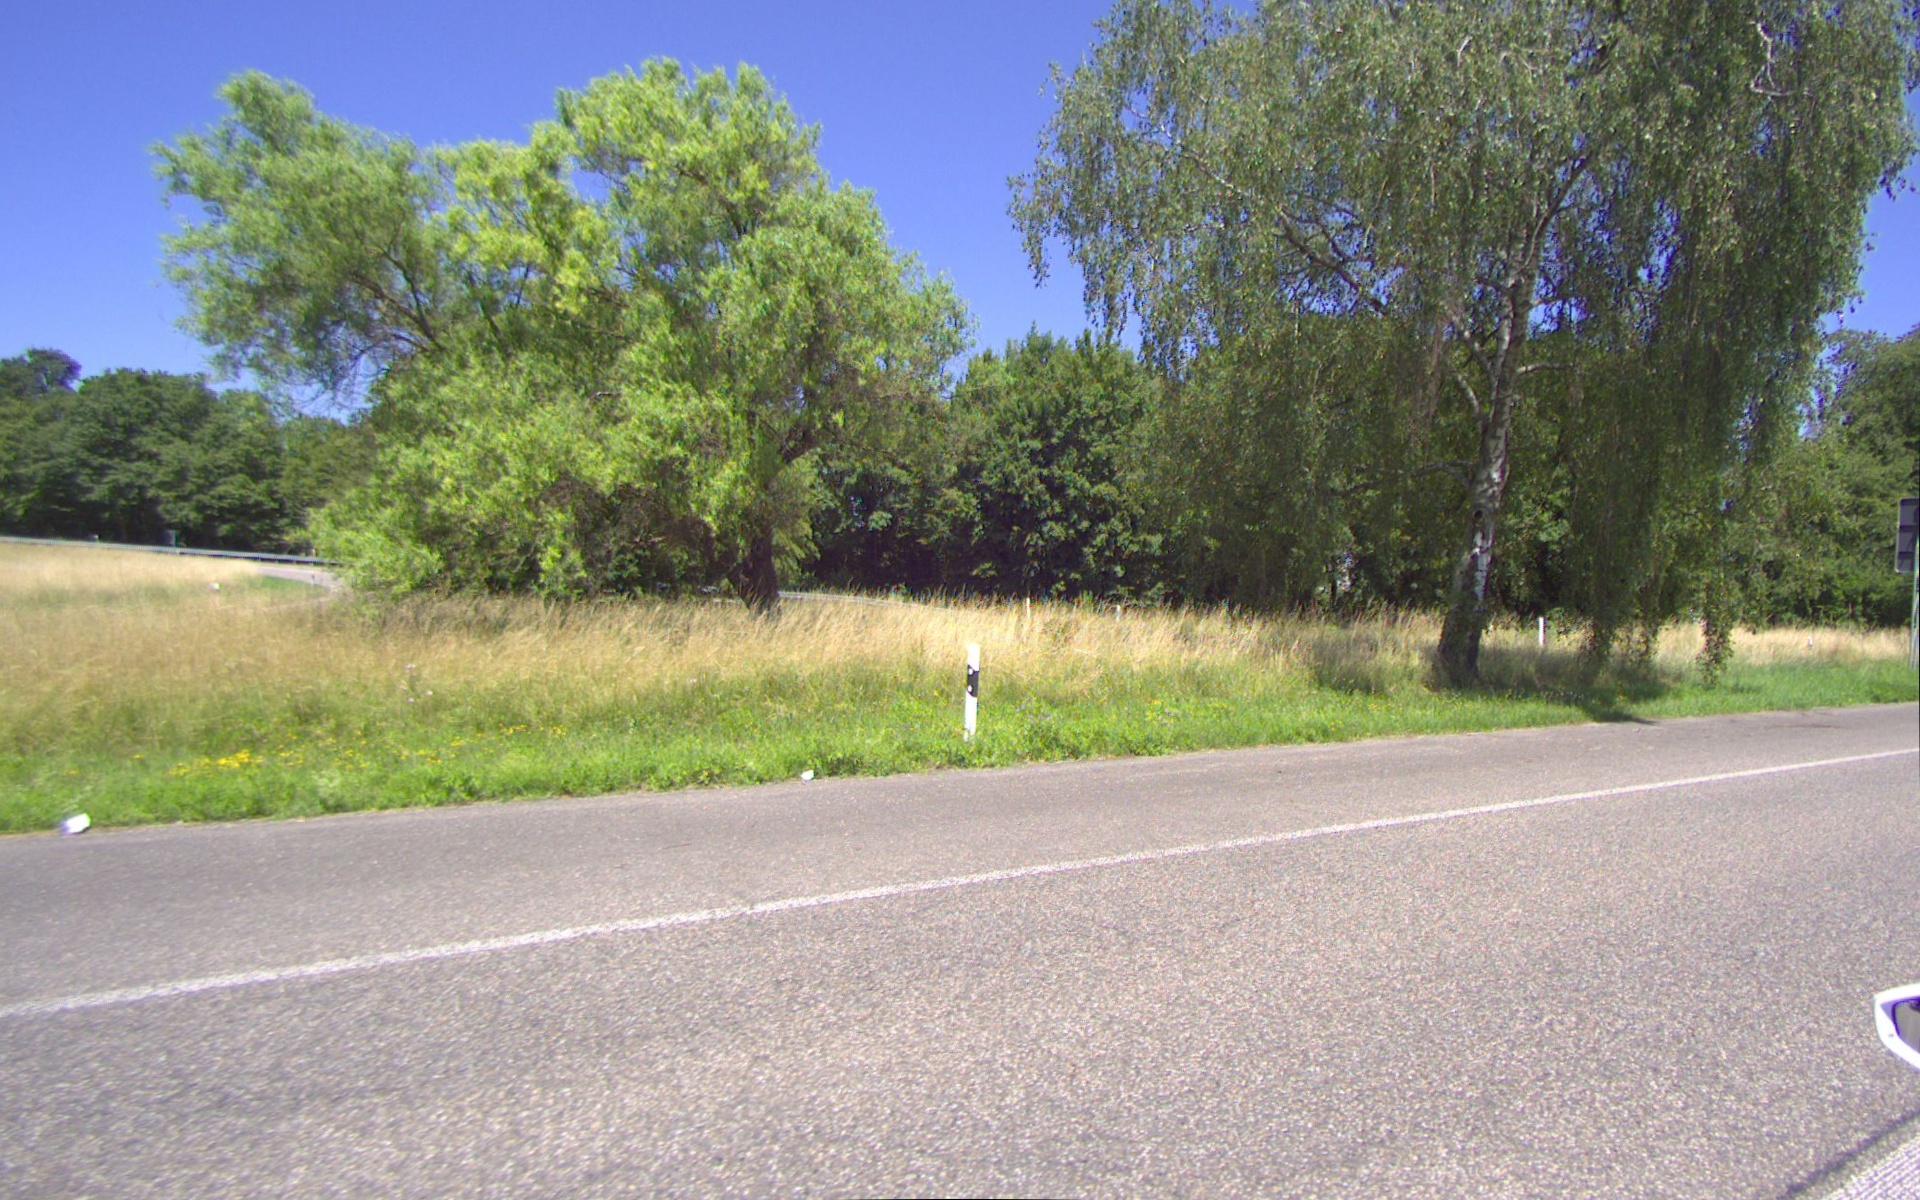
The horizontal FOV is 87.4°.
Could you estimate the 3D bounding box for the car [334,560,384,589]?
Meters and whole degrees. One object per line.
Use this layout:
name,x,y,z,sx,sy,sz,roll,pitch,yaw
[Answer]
car,-34.513,-1.429,57.756,1.638,1.486,3.982,1,0,-19
